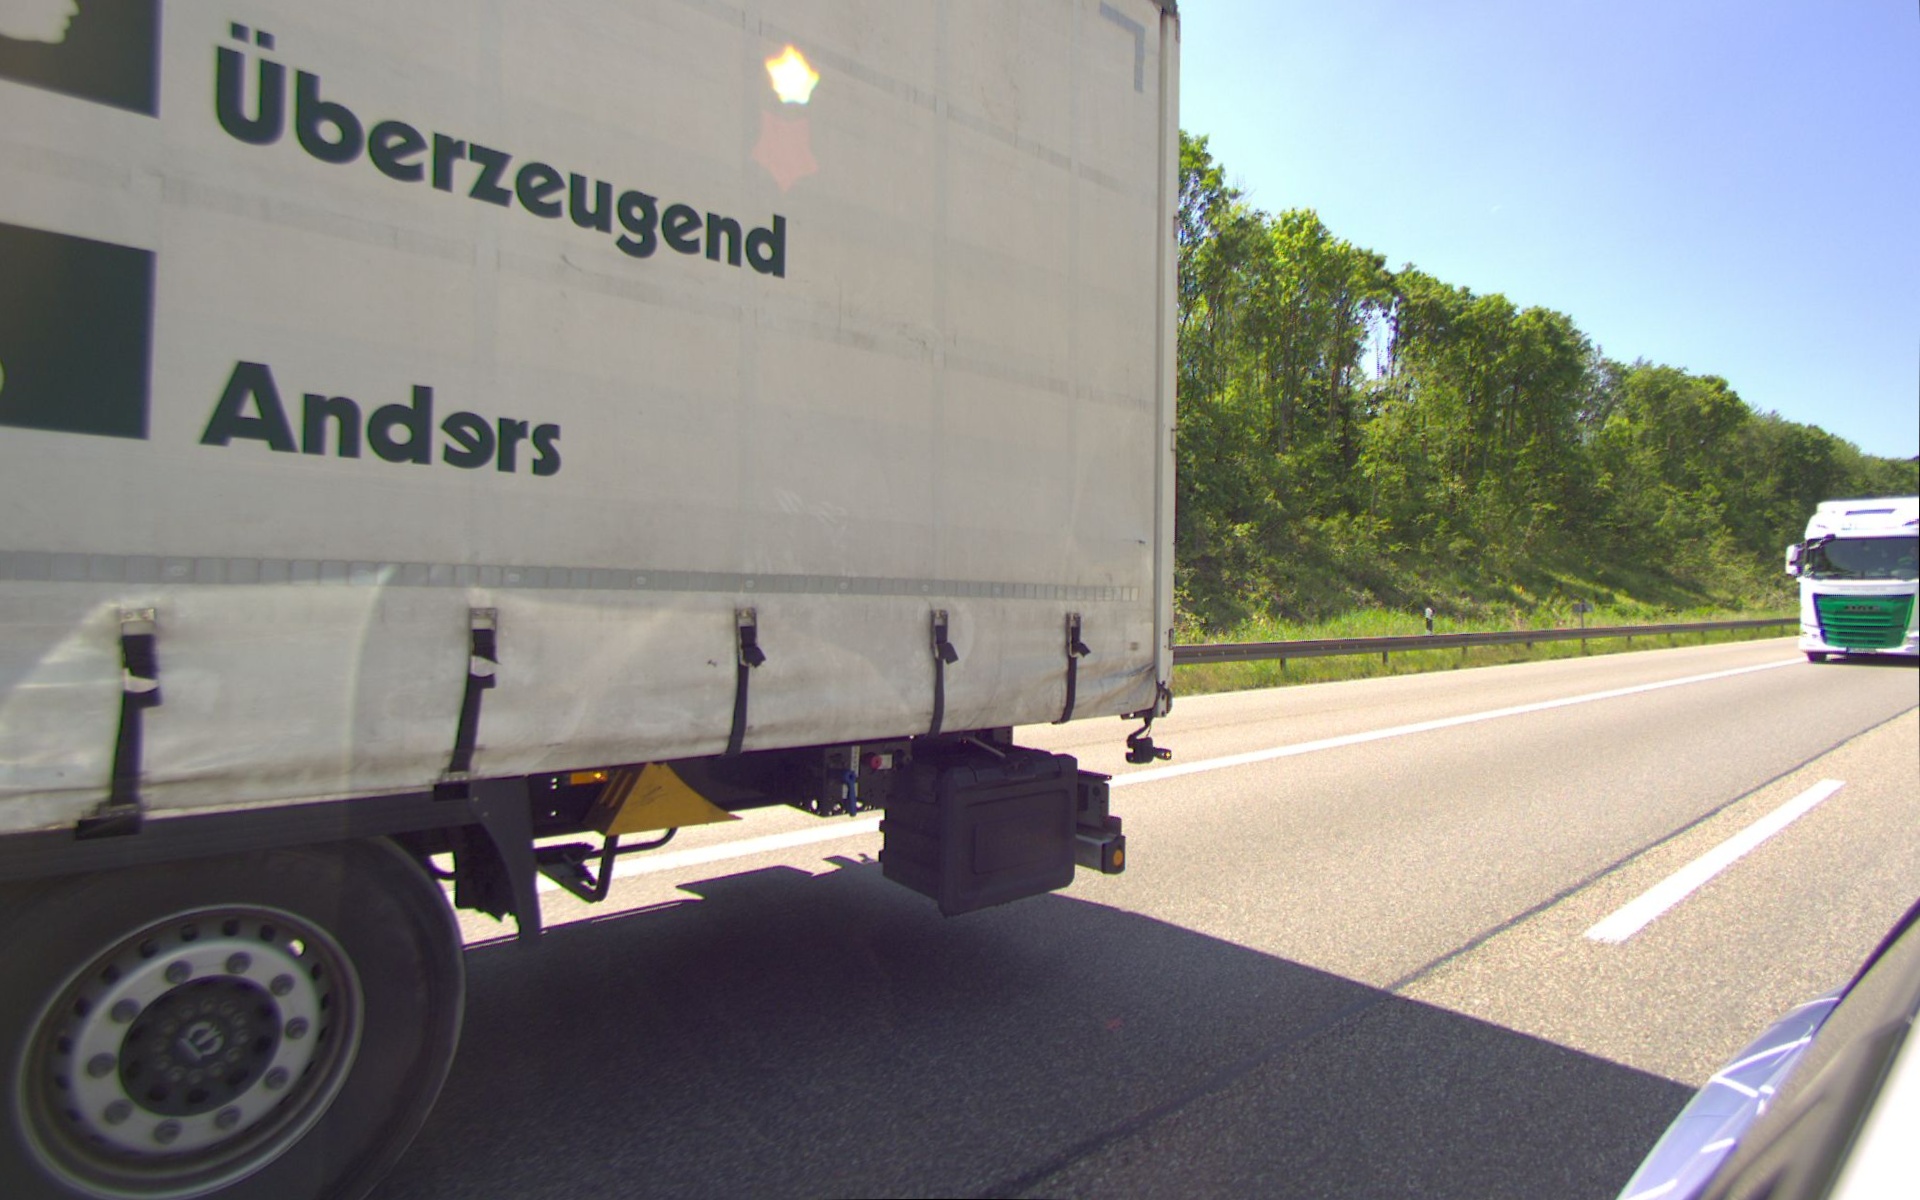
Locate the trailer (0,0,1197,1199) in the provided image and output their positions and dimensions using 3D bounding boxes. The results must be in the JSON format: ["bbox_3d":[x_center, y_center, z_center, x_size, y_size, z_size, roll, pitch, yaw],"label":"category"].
[{"bbox_3d":[-4.940,-0.674,0.760,13.007,4.259,2.791,1,-1,-40],"label":"trailer"}]

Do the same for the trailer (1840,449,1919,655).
[{"bbox_3d":[29.365,-1.293,30.090,15.002,5.103,2.572,-1,0,-40],"label":"trailer"}]

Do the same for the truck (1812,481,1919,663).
[{"bbox_3d":[23.561,-0.669,25.222,6.509,4.080,2.540,-1,0,-41],"label":"truck"}]
